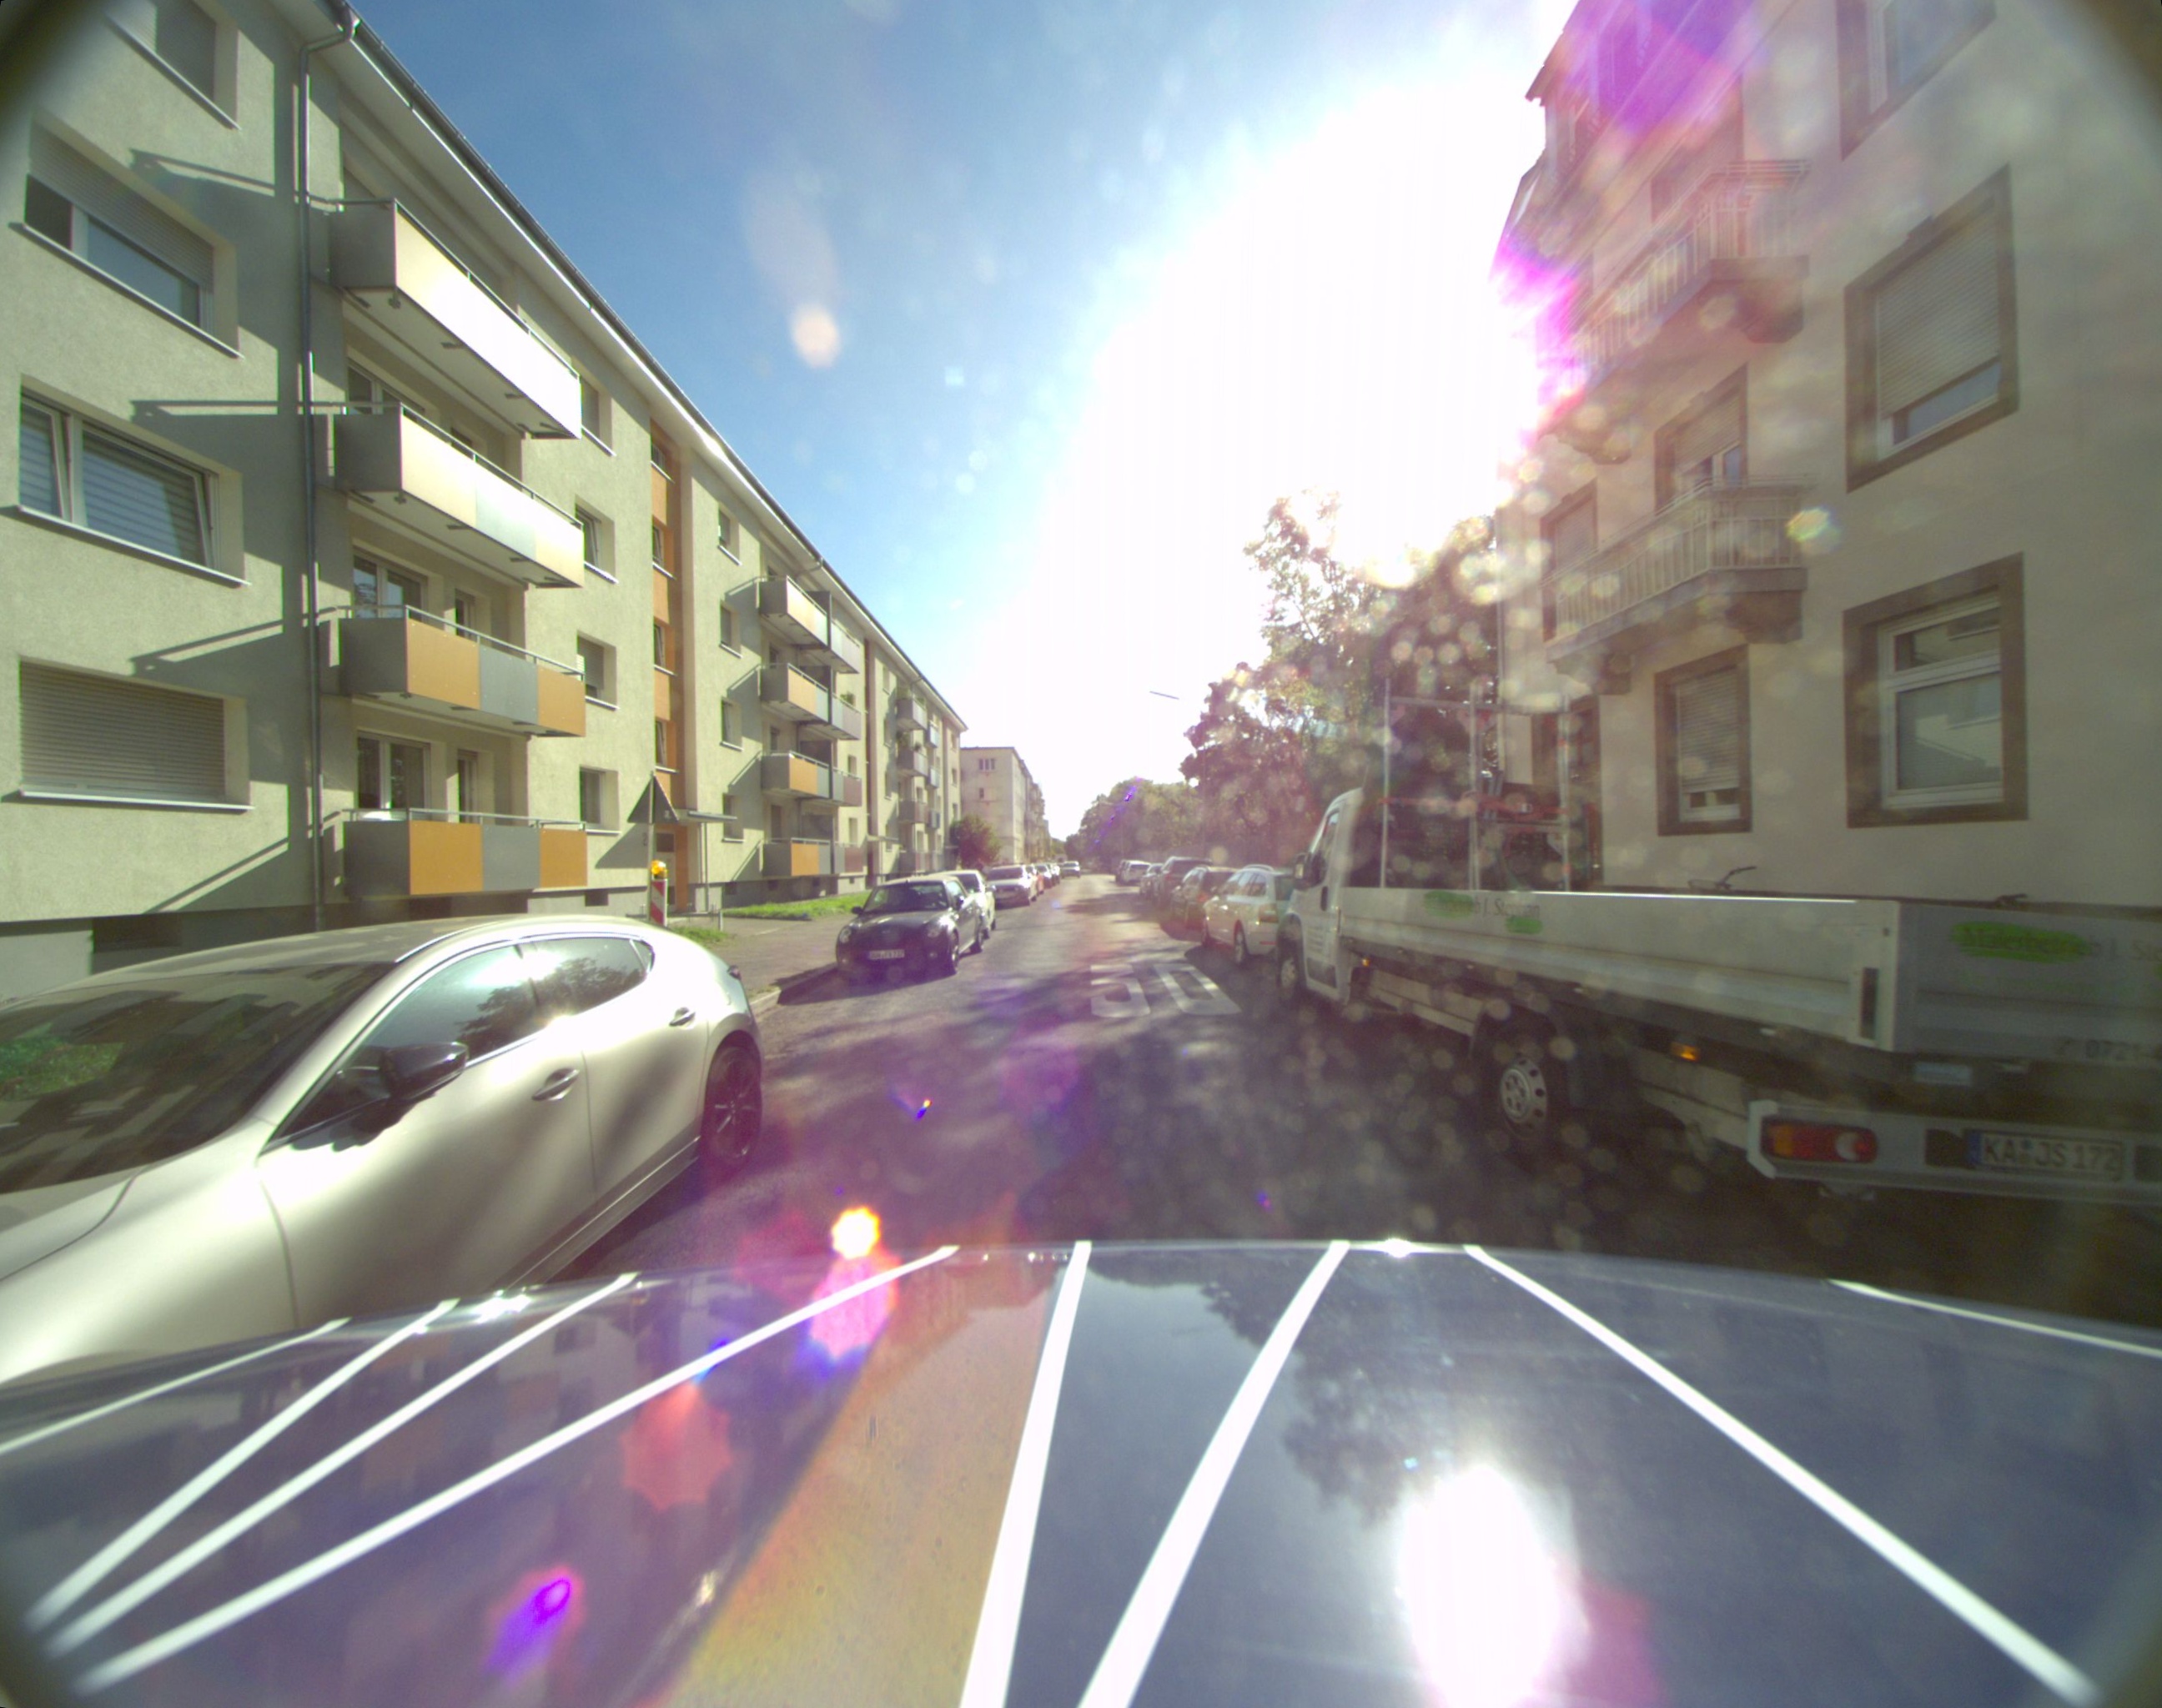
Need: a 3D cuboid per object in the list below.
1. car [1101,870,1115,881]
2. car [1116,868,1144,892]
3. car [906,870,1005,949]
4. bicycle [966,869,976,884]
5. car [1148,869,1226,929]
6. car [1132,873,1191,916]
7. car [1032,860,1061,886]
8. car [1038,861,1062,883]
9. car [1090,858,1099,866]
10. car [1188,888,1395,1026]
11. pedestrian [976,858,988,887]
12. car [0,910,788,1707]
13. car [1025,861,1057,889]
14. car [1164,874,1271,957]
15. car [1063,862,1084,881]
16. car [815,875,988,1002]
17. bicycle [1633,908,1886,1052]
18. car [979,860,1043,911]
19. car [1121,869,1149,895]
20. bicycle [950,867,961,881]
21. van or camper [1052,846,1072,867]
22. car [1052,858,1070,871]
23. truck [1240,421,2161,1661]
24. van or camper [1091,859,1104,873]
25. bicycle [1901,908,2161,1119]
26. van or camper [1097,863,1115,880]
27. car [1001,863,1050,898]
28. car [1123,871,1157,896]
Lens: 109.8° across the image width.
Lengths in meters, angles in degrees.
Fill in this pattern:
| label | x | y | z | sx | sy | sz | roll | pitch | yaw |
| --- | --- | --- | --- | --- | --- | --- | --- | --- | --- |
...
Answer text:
| label | x | y | z | sx | sy | sz | roll | pitch | yaw |
| --- | --- | --- | --- | --- | --- | --- | --- | --- | --- |
| car | 3.649 | 2.886 | 102.299 | 1.652 | 1.408 | 3.999 | -2 | 0 | -2 |
| car | 3.707 | 1.933 | 58.249 | 1.717 | 1.654 | 4.164 | 2 | 0 | -1 |
| car | -2.729 | 1.169 | 17.283 | 1.690 | 1.454 | 3.818 | -2 | 0 | -2 |
| bicycle | -7.852 | 1.610 | 54.275 | 0.486 | 1.006 | 2.283 | 0 | 0 | -3 |
| car | 3.297 | 1.365 | 24.506 | 1.883 | 1.654 | 4.931 | 0 | 0 | 0 |
| car | 3.161 | 1.568 | 30.568 | 1.799 | 1.462 | 4.501 | 1 | 0 | -1 |
| car | -2.274 | 1.222 | 50.713 | 1.757 | 1.550 | 4.254 | -2 | 0 | -2 |
| car | -2.239 | 1.315 | 55.866 | 1.609 | 1.475 | 3.797 | -1 | 0 | -1 |
| car | 3.278 | 1.988 | 188.719 | 1.999 | 2.002 | 4.000 | -1 | 0 | -1 |
| car | 3.037 | 1.429 | 12.090 | 1.797 | 1.531 | 4.641 | 4 | -1 | -2 |
| pedestrian | -6.010 | 1.124 | 46.039 | 0.647 | 1.761 | 0.840 | -1 | 0 | -4 |
| car | -2.702 | 1.135 | 2.239 | 1.796 | 1.462 | 4.339 | -5 | 0 | 1 |
| car | -2.337 | 1.216 | 45.239 | 1.757 | 1.472 | 4.079 | -2 | 0 | -2 |
| car | 3.118 | 1.360 | 18.190 | 1.796 | 1.553 | 4.459 | 2 | 0 | 1 |
| car | -0.742 | 1.735 | 75.159 | 1.862 | 1.543 | 3.998 | -4 | 2 | -2 |
| car | -2.624 | 1.177 | 11.961 | 1.692 | 1.458 | 3.582 | -5 | 0 | 1 |
| bicycle | 7.146 | 1.253 | 8.220 | 0.631 | 1.196 | 2.341 | -1 | -1 | 1 |
| car | -2.507 | 1.083 | 28.193 | 1.903 | 1.612 | 4.602 | -4 | 0 | -1 |
| car | 3.767 | 1.946 | 53.086 | 1.568 | 1.633 | 3.615 | 2 | 0 | -1 |
| bicycle | -8.980 | 1.431 | 54.357 | 0.486 | 0.955 | 2.283 | 0 | 0 | -3 |
| van or camper | -2.933 | 0.359 | 116.393 | 2.958 | 3.161 | 6.173 | 0 | -1 | 0 |
| car | -2.463 | 1.279 | 93.809 | 2.070 | 1.544 | 3.999 | -2 | 0 | -2 |
| truck | 3.094 | 0.436 | 5.468 | 2.265 | 2.969 | 7.275 | -1 | 0 | -1 |
| van or camper | 3.073 | 2.199 | 138.710 | 2.126 | 2.484 | 3.999 | -1 | 0 | -2 |
| bicycle | 7.272 | 1.082 | 5.295 | 0.571 | 1.271 | 2.341 | -1 | -1 | 1 |
| van or camper | 3.569 | 2.508 | 108.194 | 2.212 | 2.267 | 5.309 | -2 | 0 | -2 |
| car | -2.543 | 1.205 | 35.743 | 1.756 | 1.435 | 4.523 | -1 | 0 | 2 |
| car | 3.641 | 1.811 | 47.360 | 1.798 | 1.436 | 4.120 | 1 | 0 | 0 |
